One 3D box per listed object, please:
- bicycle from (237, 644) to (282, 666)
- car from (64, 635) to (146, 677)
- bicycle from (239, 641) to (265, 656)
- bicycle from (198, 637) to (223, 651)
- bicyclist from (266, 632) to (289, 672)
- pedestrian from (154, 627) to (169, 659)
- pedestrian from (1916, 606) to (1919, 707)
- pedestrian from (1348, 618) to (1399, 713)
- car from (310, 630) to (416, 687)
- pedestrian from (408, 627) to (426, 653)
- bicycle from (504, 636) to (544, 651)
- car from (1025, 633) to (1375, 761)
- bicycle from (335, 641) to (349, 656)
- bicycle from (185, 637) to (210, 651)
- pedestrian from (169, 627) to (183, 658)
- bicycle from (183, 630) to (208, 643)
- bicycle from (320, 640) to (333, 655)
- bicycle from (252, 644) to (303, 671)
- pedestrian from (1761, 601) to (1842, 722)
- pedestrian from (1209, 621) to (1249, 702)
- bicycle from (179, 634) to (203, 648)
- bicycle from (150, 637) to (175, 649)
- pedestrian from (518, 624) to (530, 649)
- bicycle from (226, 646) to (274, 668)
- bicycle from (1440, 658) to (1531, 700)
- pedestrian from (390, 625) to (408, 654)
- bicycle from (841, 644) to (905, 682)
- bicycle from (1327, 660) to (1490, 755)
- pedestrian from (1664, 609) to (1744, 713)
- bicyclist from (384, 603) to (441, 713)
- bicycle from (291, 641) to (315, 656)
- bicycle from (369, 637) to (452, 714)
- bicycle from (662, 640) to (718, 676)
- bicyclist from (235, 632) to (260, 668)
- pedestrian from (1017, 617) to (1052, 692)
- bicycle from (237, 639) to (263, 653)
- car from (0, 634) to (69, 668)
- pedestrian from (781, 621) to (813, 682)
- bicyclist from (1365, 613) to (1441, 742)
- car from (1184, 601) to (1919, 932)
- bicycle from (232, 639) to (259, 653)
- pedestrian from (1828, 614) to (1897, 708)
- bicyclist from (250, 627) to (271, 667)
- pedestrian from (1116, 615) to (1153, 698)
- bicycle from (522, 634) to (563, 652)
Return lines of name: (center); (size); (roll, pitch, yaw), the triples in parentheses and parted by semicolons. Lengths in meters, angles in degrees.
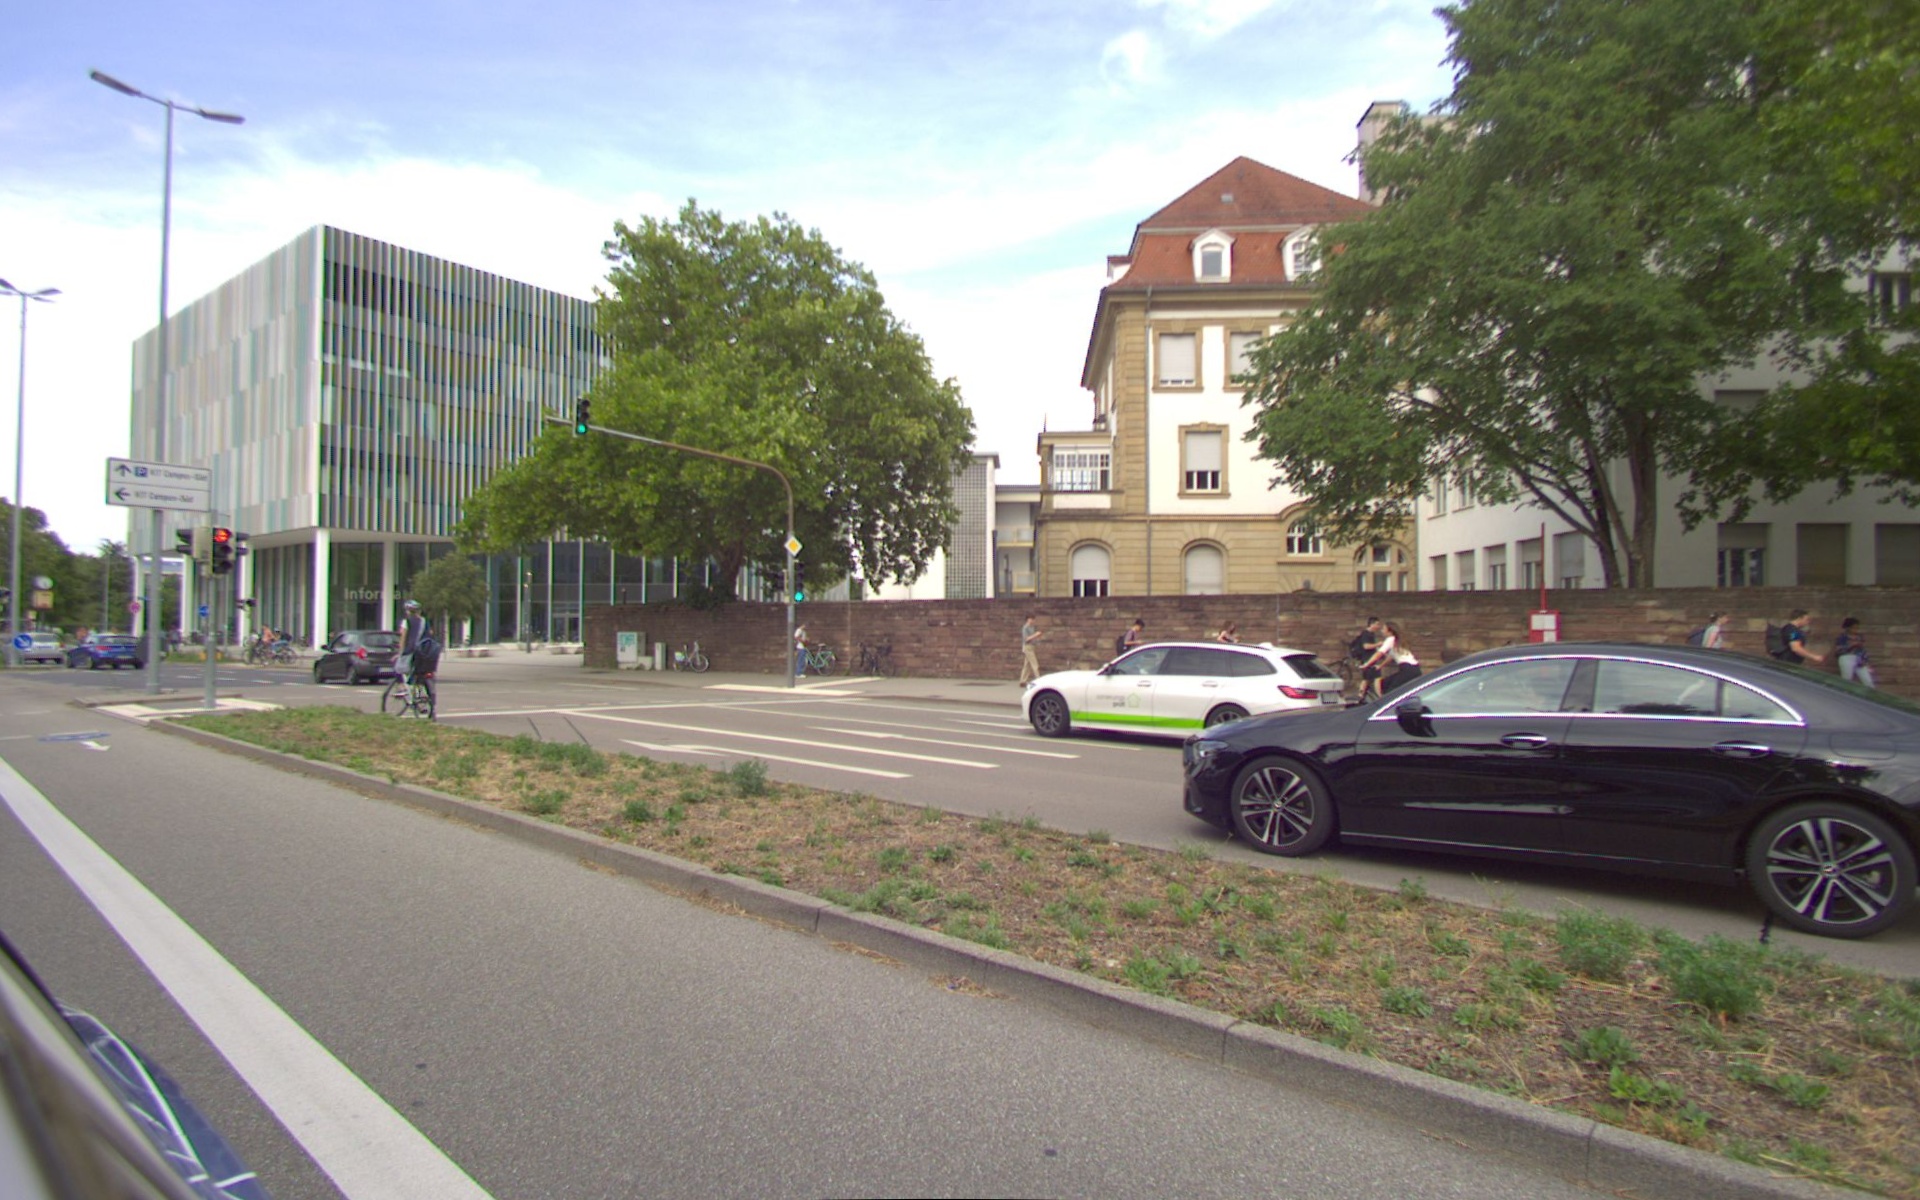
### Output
bicycle: (-32.826, 2.551, 47.449); (0.568, 0.996, 1.678); (-1, -2, 24)
car: (-34.644, 2.230, 40.992); (4.099, 1.523, 1.784); (0, -1, 39)
bicycle: (-51.565, 3.548, 73.722); (0.398, 1.002, 1.528); (-2, 0, 34)
bicycle: (-59.744, 3.490, 80.707); (0.388, 1.031, 1.564); (-2, 0, 33)
bicyclist: (-31.340, 2.384, 46.484); (0.558, 1.820, 0.597); (-1, -4, 23)
pedestrian: (-47.845, 2.576, 60.625); (0.771, 1.851, 0.506); (-3, -3, 38)
pedestrian: (16.345, 0.934, 16.433); (0.915, 1.684, 0.758); (1, -1, 13)
pedestrian: (8.045, 1.252, 19.707); (0.776, 1.796, 0.758); (1, -1, 13)
car: (-16.782, 1.620, 28.394); (3.636, 1.500, 1.554); (-2, -4, 43)
pedestrian: (-33.685, 2.469, 62.830); (0.670, 1.612, 0.728); (0, -2, 8)
bicycle: (-28.714, 2.846, 66.675); (0.669, 1.007, 2.661); (-1, -2, 23)
car: (3.194, 1.210, 14.037); (4.414, 1.500, 1.783); (-2, -3, 41)
bicycle: (-40.930, 3.212, 67.032); (0.387, 0.944, 1.603); (-1, 0, -18)
bicycle: (-61.954, 3.591, 82.275); (0.388, 1.031, 1.564); (-2, 0, 33)
pedestrian: (-47.430, 2.561, 61.222); (0.623, 1.851, 0.506); (-3, -3, 38)
bicycle: (-62.363, 2.981, 82.565); (0.388, 1.031, 1.564); (-1, -4, 33)
bicycle: (-41.944, 3.159, 67.025); (0.387, 0.944, 1.603); (-1, 0, -18)
bicycle: (-31.341, 2.632, 46.506); (0.603, 1.179, 1.880); (-1, -2, 23)
pedestrian: (12.930, 0.921, 15.568); (0.716, 1.796, 0.757); (1, -1, 18)
pedestrian: (6.113, 1.376, 23.032); (0.775, 1.796, 0.759); (1, -1, 10)
bicycle: (-63.427, 3.373, 83.490); (0.388, 1.031, 1.564); (-2, 0, 33)
bicycle: (-69.913, 3.764, 88.747); (0.433, 1.031, 1.685); (-2, 0, 33)
pedestrian: (-31.392, 2.639, 72.915); (0.627, 1.792, 0.597); (0, -2, -6)
bicycle: (-34.132, 2.736, 48.678); (0.724, 0.996, 1.807); (-1, -1, 24)
bicycle: (10.916, 1.636, 21.042); (1.615, 0.803, 0.437); (-3, -1, 33)
pedestrian: (-34.735, 2.448, 62.623); (0.670, 1.753, 0.729); (0, -2, 5)
bicycle: (-2.570, 1.842, 29.726); (1.976, 1.066, 0.544); (-2, 0, 35)
bicycle: (6.410, 1.497, 14.564); (0.611, 1.226, 2.046); (2, -3, -43)
pedestrian: (13.196, 1.060, 17.967); (0.905, 1.796, 0.758); (1, -1, 13)
bicyclist: (-8.121, 0.851, 15.007); (0.565, 1.586, 0.700); (2, -3, -44)
bicycle: (-43.892, 3.247, 67.607); (0.389, 0.944, 1.608); (-1, 0, 5)
bicycle: (-8.144, 1.088, 14.970); (0.566, 1.063, 1.927); (2, -3, -44)
bicycle: (-9.048, 1.934, 33.907); (2.161, 1.134, 0.572); (-2, 0, 37)
bicyclist: (-34.188, 2.409, 48.568); (0.719, 1.685, 0.722); (-1, -1, 25)
pedestrian: (1.835, 1.333, 24.968); (0.775, 1.796, 0.745); (1, -1, 9)
bicycle: (-51.984, 3.386, 74.085); (0.393, 0.944, 1.529); (-2, 0, 33)
car: (-43.675, 2.374, 47.740); (4.284, 1.500, 1.784); (-2, -3, 39)
pedestrian: (-4.935, 1.545, 30.711); (0.774, 1.796, 0.745); (1, -1, 7)
bicyclist: (6.382, 1.094, 14.590); (0.611, 1.796, 0.812); (2, -3, -43)
car: (3.785, 0.809, 6.176); (4.398, 1.500, 1.785); (-2, -2, 37)
bicycle: (-52.551, 3.396, 74.436); (0.388, 0.944, 1.529); (-2, 0, 33)
pedestrian: (15.840, 1.054, 17.784); (0.730, 1.604, 0.584); (1, -1, 19)
bicyclist: (-32.780, 2.201, 47.434); (0.559, 1.820, 0.596); (-1, -1, 25)
pedestrian: (3.920, 1.250, 22.715); (0.776, 1.796, 0.758); (1, -1, 12)
bicycle: (-27.135, 2.785, 65.761); (0.792, 1.098, 2.661); (-1, -2, 23)
